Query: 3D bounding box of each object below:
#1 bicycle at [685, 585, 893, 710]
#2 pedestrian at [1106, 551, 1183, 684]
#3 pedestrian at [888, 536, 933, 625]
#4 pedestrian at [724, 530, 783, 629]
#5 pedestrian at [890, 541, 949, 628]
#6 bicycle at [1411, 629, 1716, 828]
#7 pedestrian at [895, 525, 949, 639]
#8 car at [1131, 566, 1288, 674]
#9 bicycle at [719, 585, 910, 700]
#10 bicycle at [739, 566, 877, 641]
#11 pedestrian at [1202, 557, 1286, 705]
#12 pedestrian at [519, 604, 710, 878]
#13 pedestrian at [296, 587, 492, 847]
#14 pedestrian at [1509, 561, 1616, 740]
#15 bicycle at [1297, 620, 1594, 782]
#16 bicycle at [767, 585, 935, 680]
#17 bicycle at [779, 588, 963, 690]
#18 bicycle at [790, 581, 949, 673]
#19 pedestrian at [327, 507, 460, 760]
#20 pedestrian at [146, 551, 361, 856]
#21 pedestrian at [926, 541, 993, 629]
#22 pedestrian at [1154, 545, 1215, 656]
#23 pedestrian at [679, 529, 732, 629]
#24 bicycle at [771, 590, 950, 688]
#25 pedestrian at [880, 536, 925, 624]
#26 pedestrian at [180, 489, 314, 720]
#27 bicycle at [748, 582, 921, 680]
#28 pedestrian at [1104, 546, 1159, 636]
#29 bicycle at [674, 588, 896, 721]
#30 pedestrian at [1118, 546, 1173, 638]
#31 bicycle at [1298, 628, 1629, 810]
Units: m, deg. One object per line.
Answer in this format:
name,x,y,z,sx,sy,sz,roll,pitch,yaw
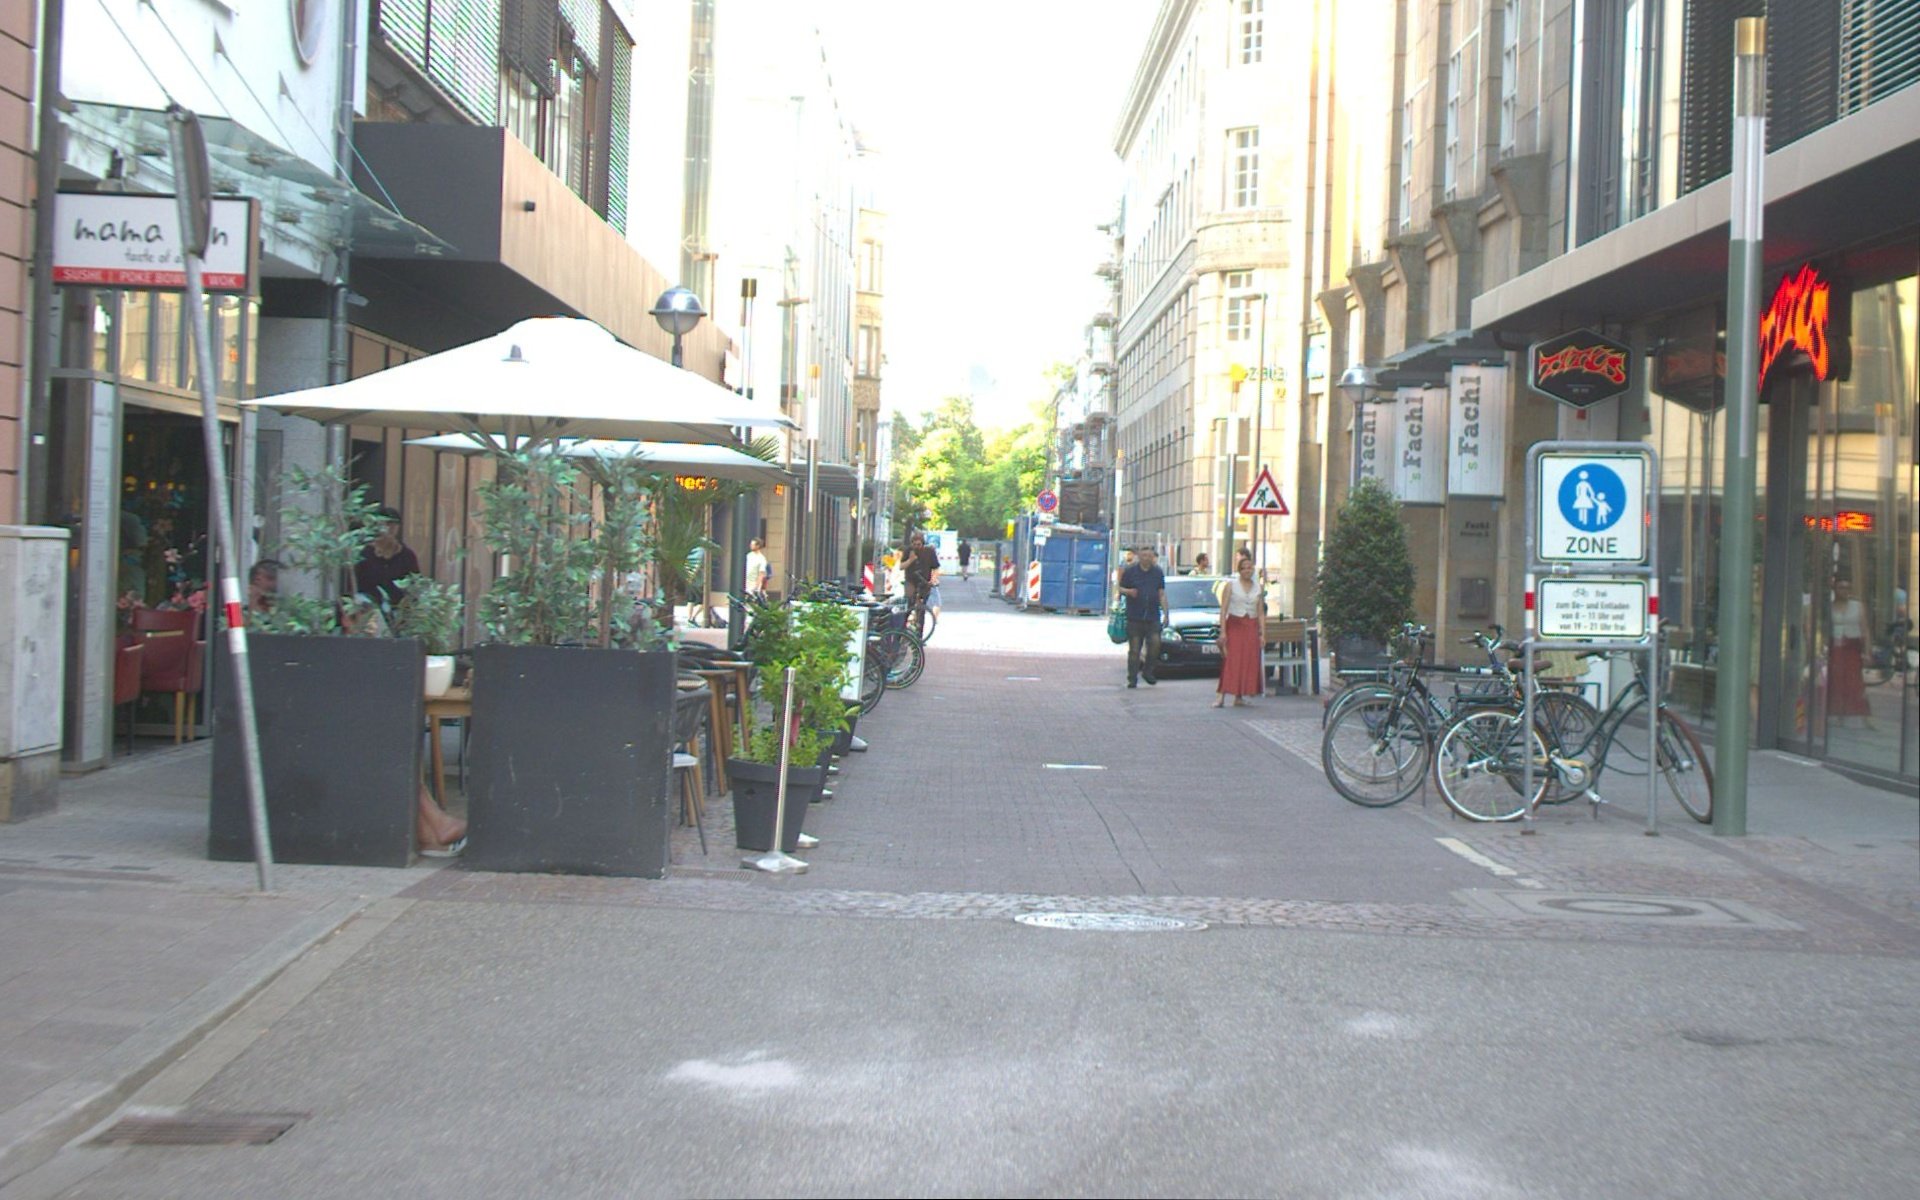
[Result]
bicycle,-1.670,0.463,33.696,1.947,1.071,0.467,4,1,0
pedestrian,2.357,0.211,43.981,0.899,1.655,0.930,2,1,1
pedestrian,-1.044,-0.417,72.915,0.904,1.853,0.836,2,1,0
pedestrian,-3.964,-0.394,66.142,1.025,1.853,0.906,2,1,0
pedestrian,-0.819,-0.322,69.763,0.862,1.728,0.933,2,1,21
bicycle,3.518,0.744,20.094,1.697,1.132,0.467,0,1,0
pedestrian,-0.630,-0.303,56.846,0.833,1.853,0.907,2,1,-1
car,3.502,0.251,48.817,1.754,1.436,3.929,1,1,-3
bicycle,-1.538,0.450,36.562,1.947,1.071,0.467,4,1,0
bicycle,-2.347,0.056,53.150,2.047,1.010,0.467,4,1,0
pedestrian,3.065,0.326,37.181,0.797,1.560,0.859,2,1,1
pedestrian,-1.582,0.636,15.783,0.790,1.179,0.674,3,0,-5
pedestrian,-2.723,0.554,16.602,0.790,1.179,0.674,3,0,-2
pedestrian,5.405,0.438,30.864,0.797,1.560,0.859,2,1,3
bicycle,3.426,0.707,24.335,2.034,1.117,0.467,0,1,0
bicycle,-1.377,0.411,43.618,2.047,1.046,0.467,4,1,0
bicycle,-1.021,0.447,39.607,2.047,1.013,0.467,4,1,0
bicycle,-1.213,0.360,46.156,2.047,1.091,0.467,4,1,0
pedestrian,-3.781,0.217,22.989,0.790,1.643,0.725,2,1,-5
pedestrian,-3.234,0.460,15.781,0.790,1.326,0.674,3,0,-2
pedestrian,-0.007,-0.304,69.510,1.010,1.728,0.980,2,1,21
pedestrian,3.828,-0.004,58.622,0.904,1.853,0.836,2,1,-1
pedestrian,-4.857,-0.405,65.582,0.904,1.853,0.836,2,1,0
bicycle,-1.175,0.460,40.722,2.047,1.013,0.467,4,1,0
pedestrian,-1.227,-0.429,73.707,0.904,1.853,0.836,2,1,0
pedestrian,-5.240,0.029,25.237,0.856,1.653,0.800,1,1,-17
bicycle,-1.540,0.376,42.306,2.047,1.046,0.467,4,1,0
pedestrian,3.211,-0.167,64.406,0.904,1.655,0.793,2,1,-2
bicycle,-1.595,0.494,31.524,1.947,1.071,0.467,4,1,0
pedestrian,3.437,-0.154,63.664,0.904,1.655,0.793,2,1,-2
bicycle,3.158,0.741,21.636,2.009,1.117,0.467,0,1,0
